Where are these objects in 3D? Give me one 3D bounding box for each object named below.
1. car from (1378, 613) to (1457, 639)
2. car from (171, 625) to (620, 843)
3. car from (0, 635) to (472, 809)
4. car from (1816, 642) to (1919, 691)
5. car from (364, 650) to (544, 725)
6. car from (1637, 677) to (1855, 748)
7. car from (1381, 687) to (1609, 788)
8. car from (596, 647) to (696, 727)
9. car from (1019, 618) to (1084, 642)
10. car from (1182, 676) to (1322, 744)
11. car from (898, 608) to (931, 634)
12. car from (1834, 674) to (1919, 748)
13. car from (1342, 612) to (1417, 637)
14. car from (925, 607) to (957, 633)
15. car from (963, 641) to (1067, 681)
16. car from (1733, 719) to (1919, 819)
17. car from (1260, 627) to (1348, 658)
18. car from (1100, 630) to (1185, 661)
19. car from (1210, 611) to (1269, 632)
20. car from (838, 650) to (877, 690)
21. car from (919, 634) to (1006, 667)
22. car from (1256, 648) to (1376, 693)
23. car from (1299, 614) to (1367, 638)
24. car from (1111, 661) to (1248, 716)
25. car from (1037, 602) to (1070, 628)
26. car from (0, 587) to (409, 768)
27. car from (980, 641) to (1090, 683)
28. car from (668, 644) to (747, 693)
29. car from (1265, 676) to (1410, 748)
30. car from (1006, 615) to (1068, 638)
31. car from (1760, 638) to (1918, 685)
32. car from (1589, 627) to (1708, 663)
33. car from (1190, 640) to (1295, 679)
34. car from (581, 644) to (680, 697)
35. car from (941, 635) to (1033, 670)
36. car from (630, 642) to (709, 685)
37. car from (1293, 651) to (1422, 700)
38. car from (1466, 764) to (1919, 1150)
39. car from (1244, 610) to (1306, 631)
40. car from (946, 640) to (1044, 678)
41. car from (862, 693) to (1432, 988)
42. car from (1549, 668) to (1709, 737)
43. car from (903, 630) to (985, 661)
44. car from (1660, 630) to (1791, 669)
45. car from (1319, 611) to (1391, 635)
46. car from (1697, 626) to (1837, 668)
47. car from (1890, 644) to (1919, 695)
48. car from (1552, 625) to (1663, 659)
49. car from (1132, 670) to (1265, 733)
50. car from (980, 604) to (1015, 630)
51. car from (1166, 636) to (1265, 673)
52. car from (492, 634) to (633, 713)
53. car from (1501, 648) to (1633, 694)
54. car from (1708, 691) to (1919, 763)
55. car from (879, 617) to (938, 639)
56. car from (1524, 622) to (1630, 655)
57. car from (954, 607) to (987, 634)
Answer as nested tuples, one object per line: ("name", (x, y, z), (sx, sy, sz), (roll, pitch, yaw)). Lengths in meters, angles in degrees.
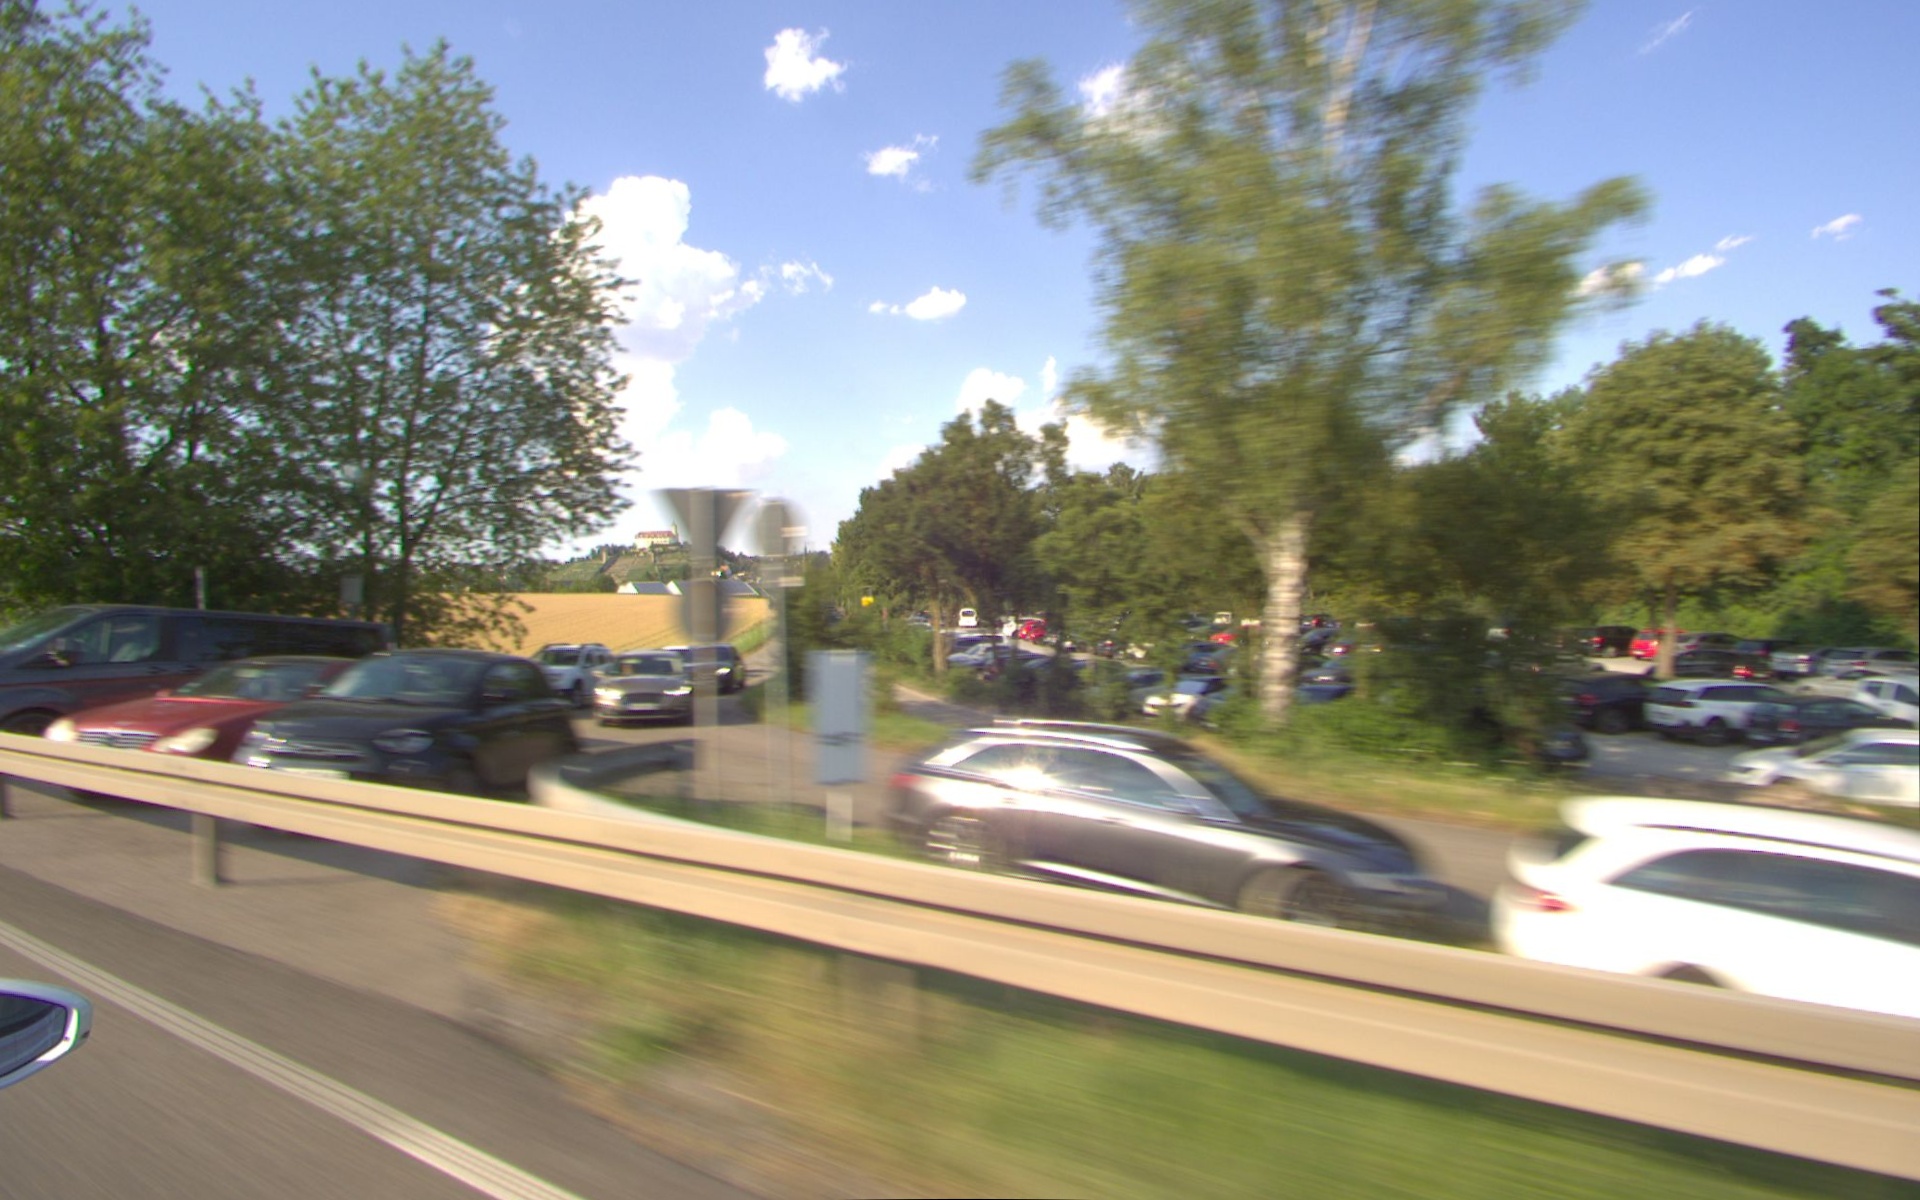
("car", (30.741, 1.735, 67.331), (4.507, 1.713, 1.804), (0, 0, 2))
("car", (-4.833, 1.140, 9.451), (1.687, 1.527, 4.331), (2, -4, 1))
("car", (-7.302, 1.216, 10.787), (1.687, 1.416, 4.331), (2, -4, 4))
("car", (34.461, 2.415, 36.738), (4.507, 1.713, 1.804), (0, 0, 2))
("car", (-10.867, 1.839, 21.826), (1.776, 1.459, 3.732), (0, -2, 5))
("car", (21.175, 3.012, 27.090), (4.507, 1.713, 1.804), (0, 0, -1))
("car", (12.772, 3.189, 24.159), (1.783, 1.866, 4.560), (0, -1, -38))
("car", (-6.725, 1.753, 21.159), (1.781, 1.459, 4.581), (1, -3, -20))
("car", (6.859, 2.232, 75.318), (4.514, 1.713, 1.801), (0, 0, -16))
("car", (9.099, 3.341, 31.093), (4.539, 1.713, 1.791), (0, -1, -36))
("car", (-4.427, 2.010, 97.696), (2.315, 2.272, 5.668), (-2, 0, 6))
("car", (24.870, 2.867, 25.666), (1.622, 1.692, 4.150), (0, -1, 6))
("car", (29.407, 1.706, 70.360), (4.507, 1.713, 1.804), (0, 0, 2))
("car", (-1.770, 1.911, 97.313), (2.315, 2.272, 5.668), (-2, 0, 7))
("car", (2.560, 2.803, 46.818), (4.514, 1.713, 1.801), (0, 0, -16))
("car", (17.593, 3.263, 19.300), (4.239, 1.505, 1.682), (0, 0, 39))
("car", (19.932, 2.433, 58.055), (4.509, 1.713, 1.803), (0, 0, -8))
("car", (10.541, 2.606, 57.871), (4.514, 1.713, 1.801), (0, 0, -16))
("car", (23.376, 1.814, 83.771), (4.515, 1.713, 1.800), (0, 0, -16))
("car", (-5.331, 3.599, 52.153), (1.961, 1.639, 4.640), (0, 1, -6))
("car", (0.111, 2.793, 55.641), (4.514, 1.713, 1.801), (0, 0, -16))
("car", (14.824, 2.901, 41.733), (4.514, 1.713, 1.801), (0, 0, -16))
("car", (28.263, 1.962, 75.995), (4.507, 1.713, 1.804), (0, 0, 2))
("car", (7.870, 3.136, 35.963), (4.514, 1.713, 1.801), (0, 0, -16))
("car", (8.717, 1.356, 93.340), (2.317, 2.273, 5.664), (-2, 0, 12))
("car", (-10.355, 1.055, 13.121), (1.945, 1.966, 5.142), (0, -6, 30))
("car", (3.274, 2.695, 44.013), (4.514, 1.713, 1.801), (0, 0, -16))
("car", (-7.911, 2.118, 31.711), (1.776, 1.459, 3.935), (1, -2, -4))
("car", (11.117, 3.212, 29.381), (4.539, 1.713, 1.791), (0, -1, -36))
("car", (5.994, 2.045, 77.824), (4.514, 1.713, 1.801), (0, 0, -16))
("car", (34.319, 2.388, 39.193), (4.507, 1.713, 1.804), (0, 0, 2))
("car", (33.511, 2.189, 48.853), (4.507, 1.713, 1.804), (0, 0, 2))
("car", (13.244, 2.765, 47.001), (4.514, 1.713, 1.801), (0, 0, -16))
("car", (-10.498, 2.217, 32.219), (1.961, 1.526, 4.531), (0, -2, -4))
("car", (1.396, 2.719, 52.807), (4.514, 1.713, 1.801), (0, 0, -16))
("car", (-11.039, 2.382, 38.404), (1.961, 1.526, 4.645), (0, -2, -4))
("car", (15.580, 2.939, 39.284), (4.514, 1.713, 1.801), (0, 0, -16))
("car", (5.935, 2.251, 6.313), (4.714, 1.581, 1.886), (2, 4, 33))
("car", (25.397, 1.658, 80.873), (4.507, 1.713, 1.804), (0, 0, 2))
("car", (1.697, 2.860, 49.193), (4.514, 1.713, 1.801), (0, 0, -16))
("car", (1.602, 1.892, 9.048), (4.707, 1.581, 1.889), (1, 3, 28))
("car", (19.959, 2.998, 29.863), (4.522, 1.713, 1.798), (0, 0, -23))
("car", (-0.962, 2.645, 58.991), (4.514, 1.713, 1.801), (0, 0, -16))
("car", (34.757, 2.236, 45.526), (4.507, 1.713, 1.804), (0, 0, 2))
("car", (28.685, 1.635, 72.757), (4.507, 1.713, 1.804), (0, 0, 2))
("car", (34.768, 2.009, 43.225), (4.507, 1.713, 1.804), (0, 0, 2))
("car", (35.237, 2.410, 34.566), (4.507, 1.713, 1.804), (0, 0, 2))
("car", (33.433, 2.158, 51.764), (4.507, 1.713, 1.804), (0, 0, 2))
("car", (7.982, 3.314, 33.311), (4.539, 1.713, 1.791), (0, -1, -36))
("car", (3.613, 1.601, 95.628), (2.317, 2.273, 5.664), (-2, 0, 12))
("car", (12.732, 2.679, 49.948), (4.514, 1.713, 1.801), (0, 0, -16))
("car", (-10.385, 1.854, 26.515), (1.776, 1.771, 4.217), (0, 0, 4))
("car", (24.836, 2.878, 41.052), (4.509, 1.713, 1.803), (0, 0, -8))
("car", (21.436, 3.118, 24.806), (4.507, 1.563, 1.804), (0, 0, -1))
("car", (-4.159, 2.256, 80.746), (4.514, 1.713, 1.801), (0, 0, -16))
("car", (32.982, 2.032, 53.620), (4.507, 1.713, 1.804), (0, 0, 2))
("car", (1.079, 1.960, 97.211), (2.454, 2.339, 6.076), (-2, 0, 7))
